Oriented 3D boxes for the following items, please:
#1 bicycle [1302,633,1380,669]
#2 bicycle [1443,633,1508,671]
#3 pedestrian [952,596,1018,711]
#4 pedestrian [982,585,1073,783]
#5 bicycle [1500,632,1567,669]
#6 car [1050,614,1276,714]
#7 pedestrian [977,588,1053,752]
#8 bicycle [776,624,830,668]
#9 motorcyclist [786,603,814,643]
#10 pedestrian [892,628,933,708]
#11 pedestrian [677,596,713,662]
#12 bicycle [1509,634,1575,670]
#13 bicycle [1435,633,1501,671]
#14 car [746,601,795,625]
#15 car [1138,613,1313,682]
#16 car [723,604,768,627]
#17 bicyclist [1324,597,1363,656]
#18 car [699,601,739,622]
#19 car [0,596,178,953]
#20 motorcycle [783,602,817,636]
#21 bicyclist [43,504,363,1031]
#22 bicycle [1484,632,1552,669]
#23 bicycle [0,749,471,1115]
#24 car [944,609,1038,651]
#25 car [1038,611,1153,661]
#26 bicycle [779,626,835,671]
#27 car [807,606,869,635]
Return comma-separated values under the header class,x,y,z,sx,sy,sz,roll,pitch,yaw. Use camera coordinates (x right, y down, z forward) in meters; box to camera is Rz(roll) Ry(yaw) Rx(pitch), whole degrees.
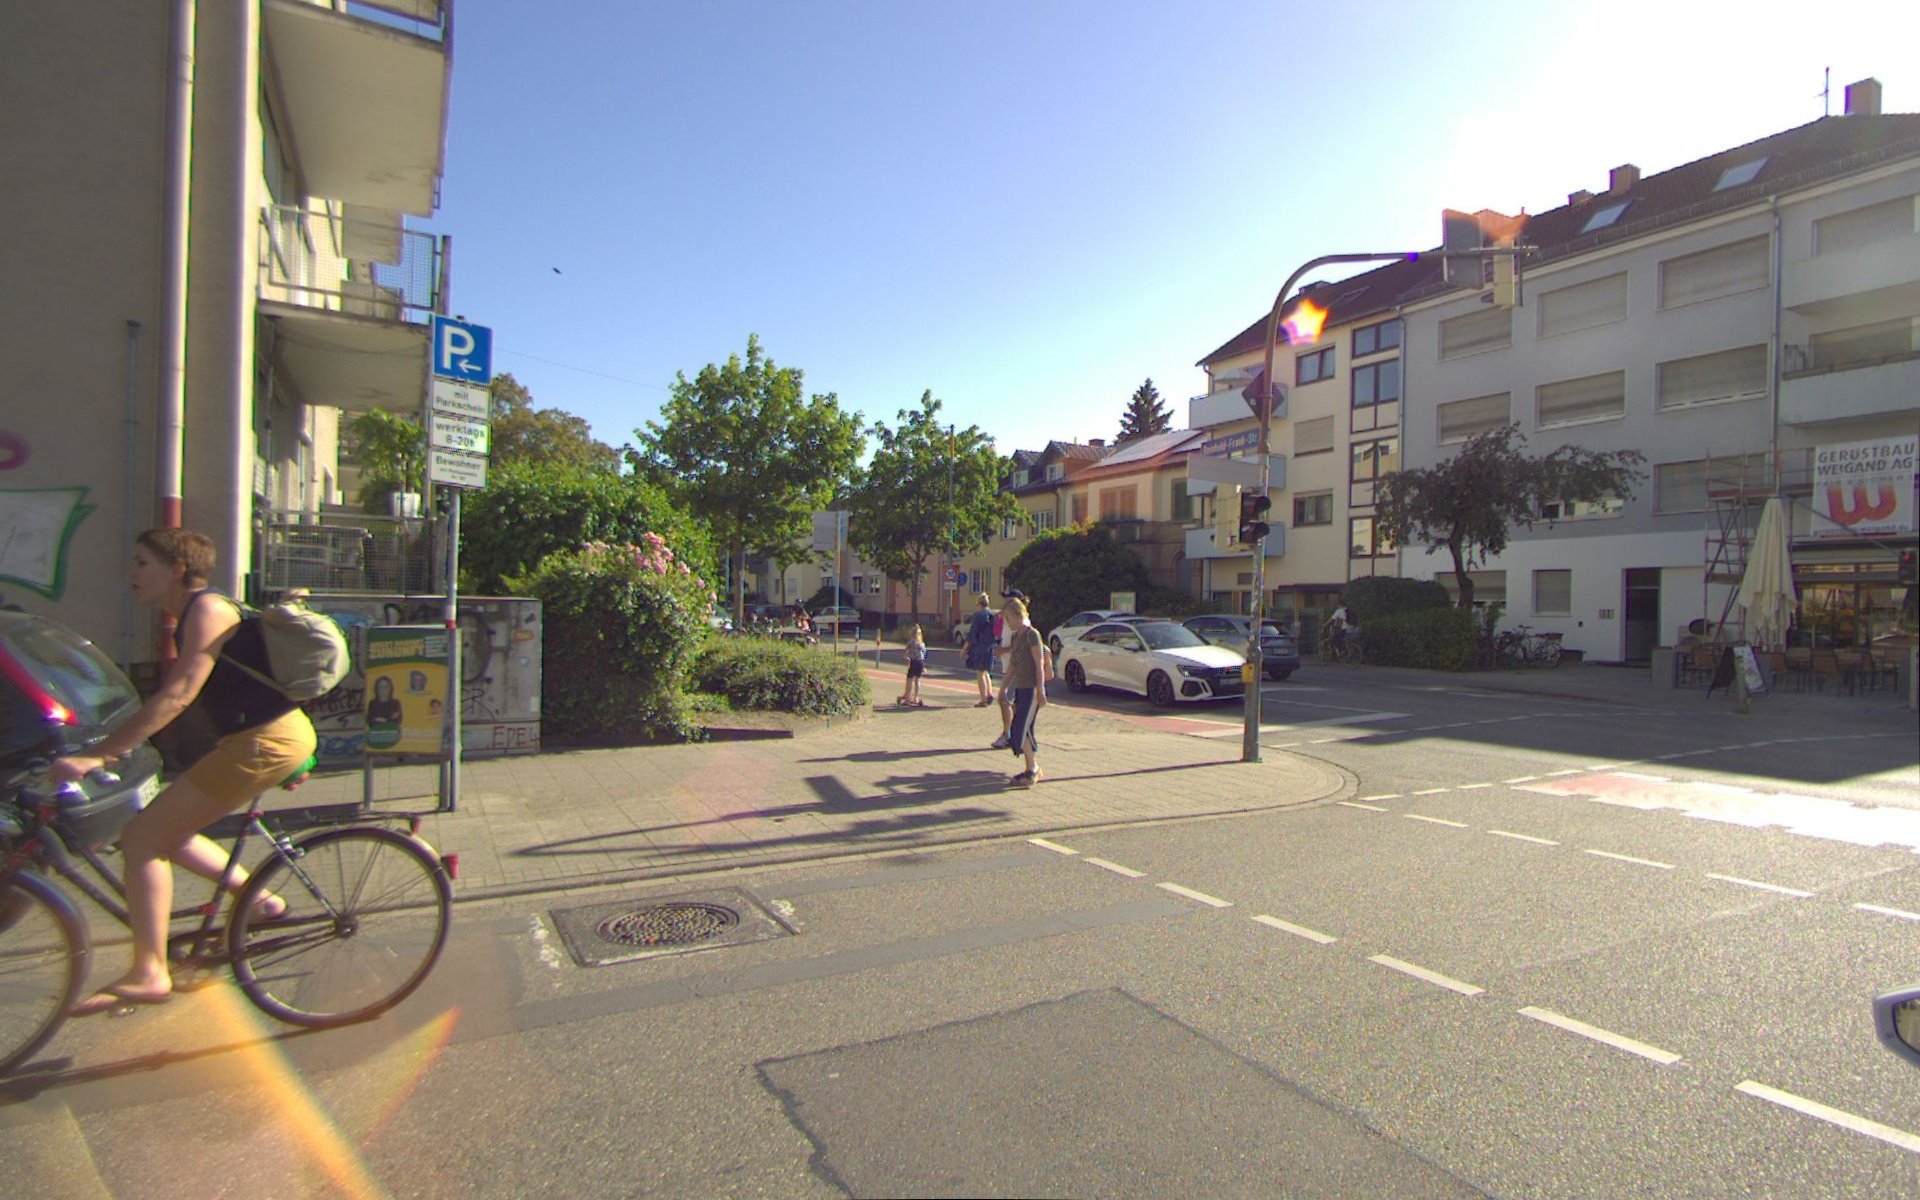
class,x,y,z,sx,sy,sz,roll,pitch,yaw
bicycle,10.307,1.367,27.239,0.548,0.845,2.114,1,0,-30
bicycle,14.009,1.399,27.315,0.506,0.952,1.583,1,-1,-27
pedestrian,0.375,0.795,15.359,0.568,1.705,0.961,1,0,-30
pedestrian,0.568,0.689,8.525,0.556,1.602,0.529,1,0,-29
bicycle,15.750,1.376,27.614,0.506,0.952,1.583,1,-1,-27
car,3.623,1.076,18.730,1.909,1.455,4.238,-3,2,-27
pedestrian,0.586,0.741,10.830,0.658,1.711,0.573,1,0,-13
bicycle,-4.565,1.349,29.262,1.550,1.177,0.447,1,14,-7
motorcyclist,-5.636,0.813,35.418,0.747,1.374,0.787,-1,1,-27
pedestrian,-0.715,1.004,15.068,0.382,1.161,0.527,1,0,-33
pedestrian,-6.609,0.712,25.064,0.689,1.617,0.642,1,0,-31
bicycle,16.280,1.436,28.111,0.506,0.952,1.583,1,-1,-27
bicycle,13.572,1.384,26.864,0.506,0.952,1.583,1,-1,-27
car,-12.251,0.815,64.775,1.893,1.449,3.969,-2,1,-30
car,6.187,1.062,23.886,1.818,1.453,4.151,1,-1,-24
car,-14.734,1.045,68.781,1.893,1.449,3.969,-2,1,-30
bicyclist,10.367,0.706,27.174,0.549,1.569,0.808,1,0,-30
car,-17.876,0.829,74.416,1.893,1.449,3.969,-2,1,-30
car,-5.833,0.723,4.221,3.813,1.468,1.682,1,2,-31
motorcycle,-5.670,0.659,35.505,0.739,1.149,1.672,-1,0,-26
bicyclist,-2.468,0.496,3.365,0.765,1.541,0.540,1,0,-30
bicycle,15.079,1.354,27.176,0.506,0.952,1.583,1,-1,-27
bicycle,-2.621,1.031,3.281,1.804,0.914,0.540,1,0,-30
car,1.173,1.133,39.396,1.893,1.449,3.969,-2,1,-30
car,4.512,1.167,33.977,1.893,1.539,3.969,0,0,-30
bicycle,-4.373,1.390,28.777,1.550,1.177,0.447,1,14,-7
car,-6.605,1.076,54.052,1.893,1.449,3.969,-2,1,-30
